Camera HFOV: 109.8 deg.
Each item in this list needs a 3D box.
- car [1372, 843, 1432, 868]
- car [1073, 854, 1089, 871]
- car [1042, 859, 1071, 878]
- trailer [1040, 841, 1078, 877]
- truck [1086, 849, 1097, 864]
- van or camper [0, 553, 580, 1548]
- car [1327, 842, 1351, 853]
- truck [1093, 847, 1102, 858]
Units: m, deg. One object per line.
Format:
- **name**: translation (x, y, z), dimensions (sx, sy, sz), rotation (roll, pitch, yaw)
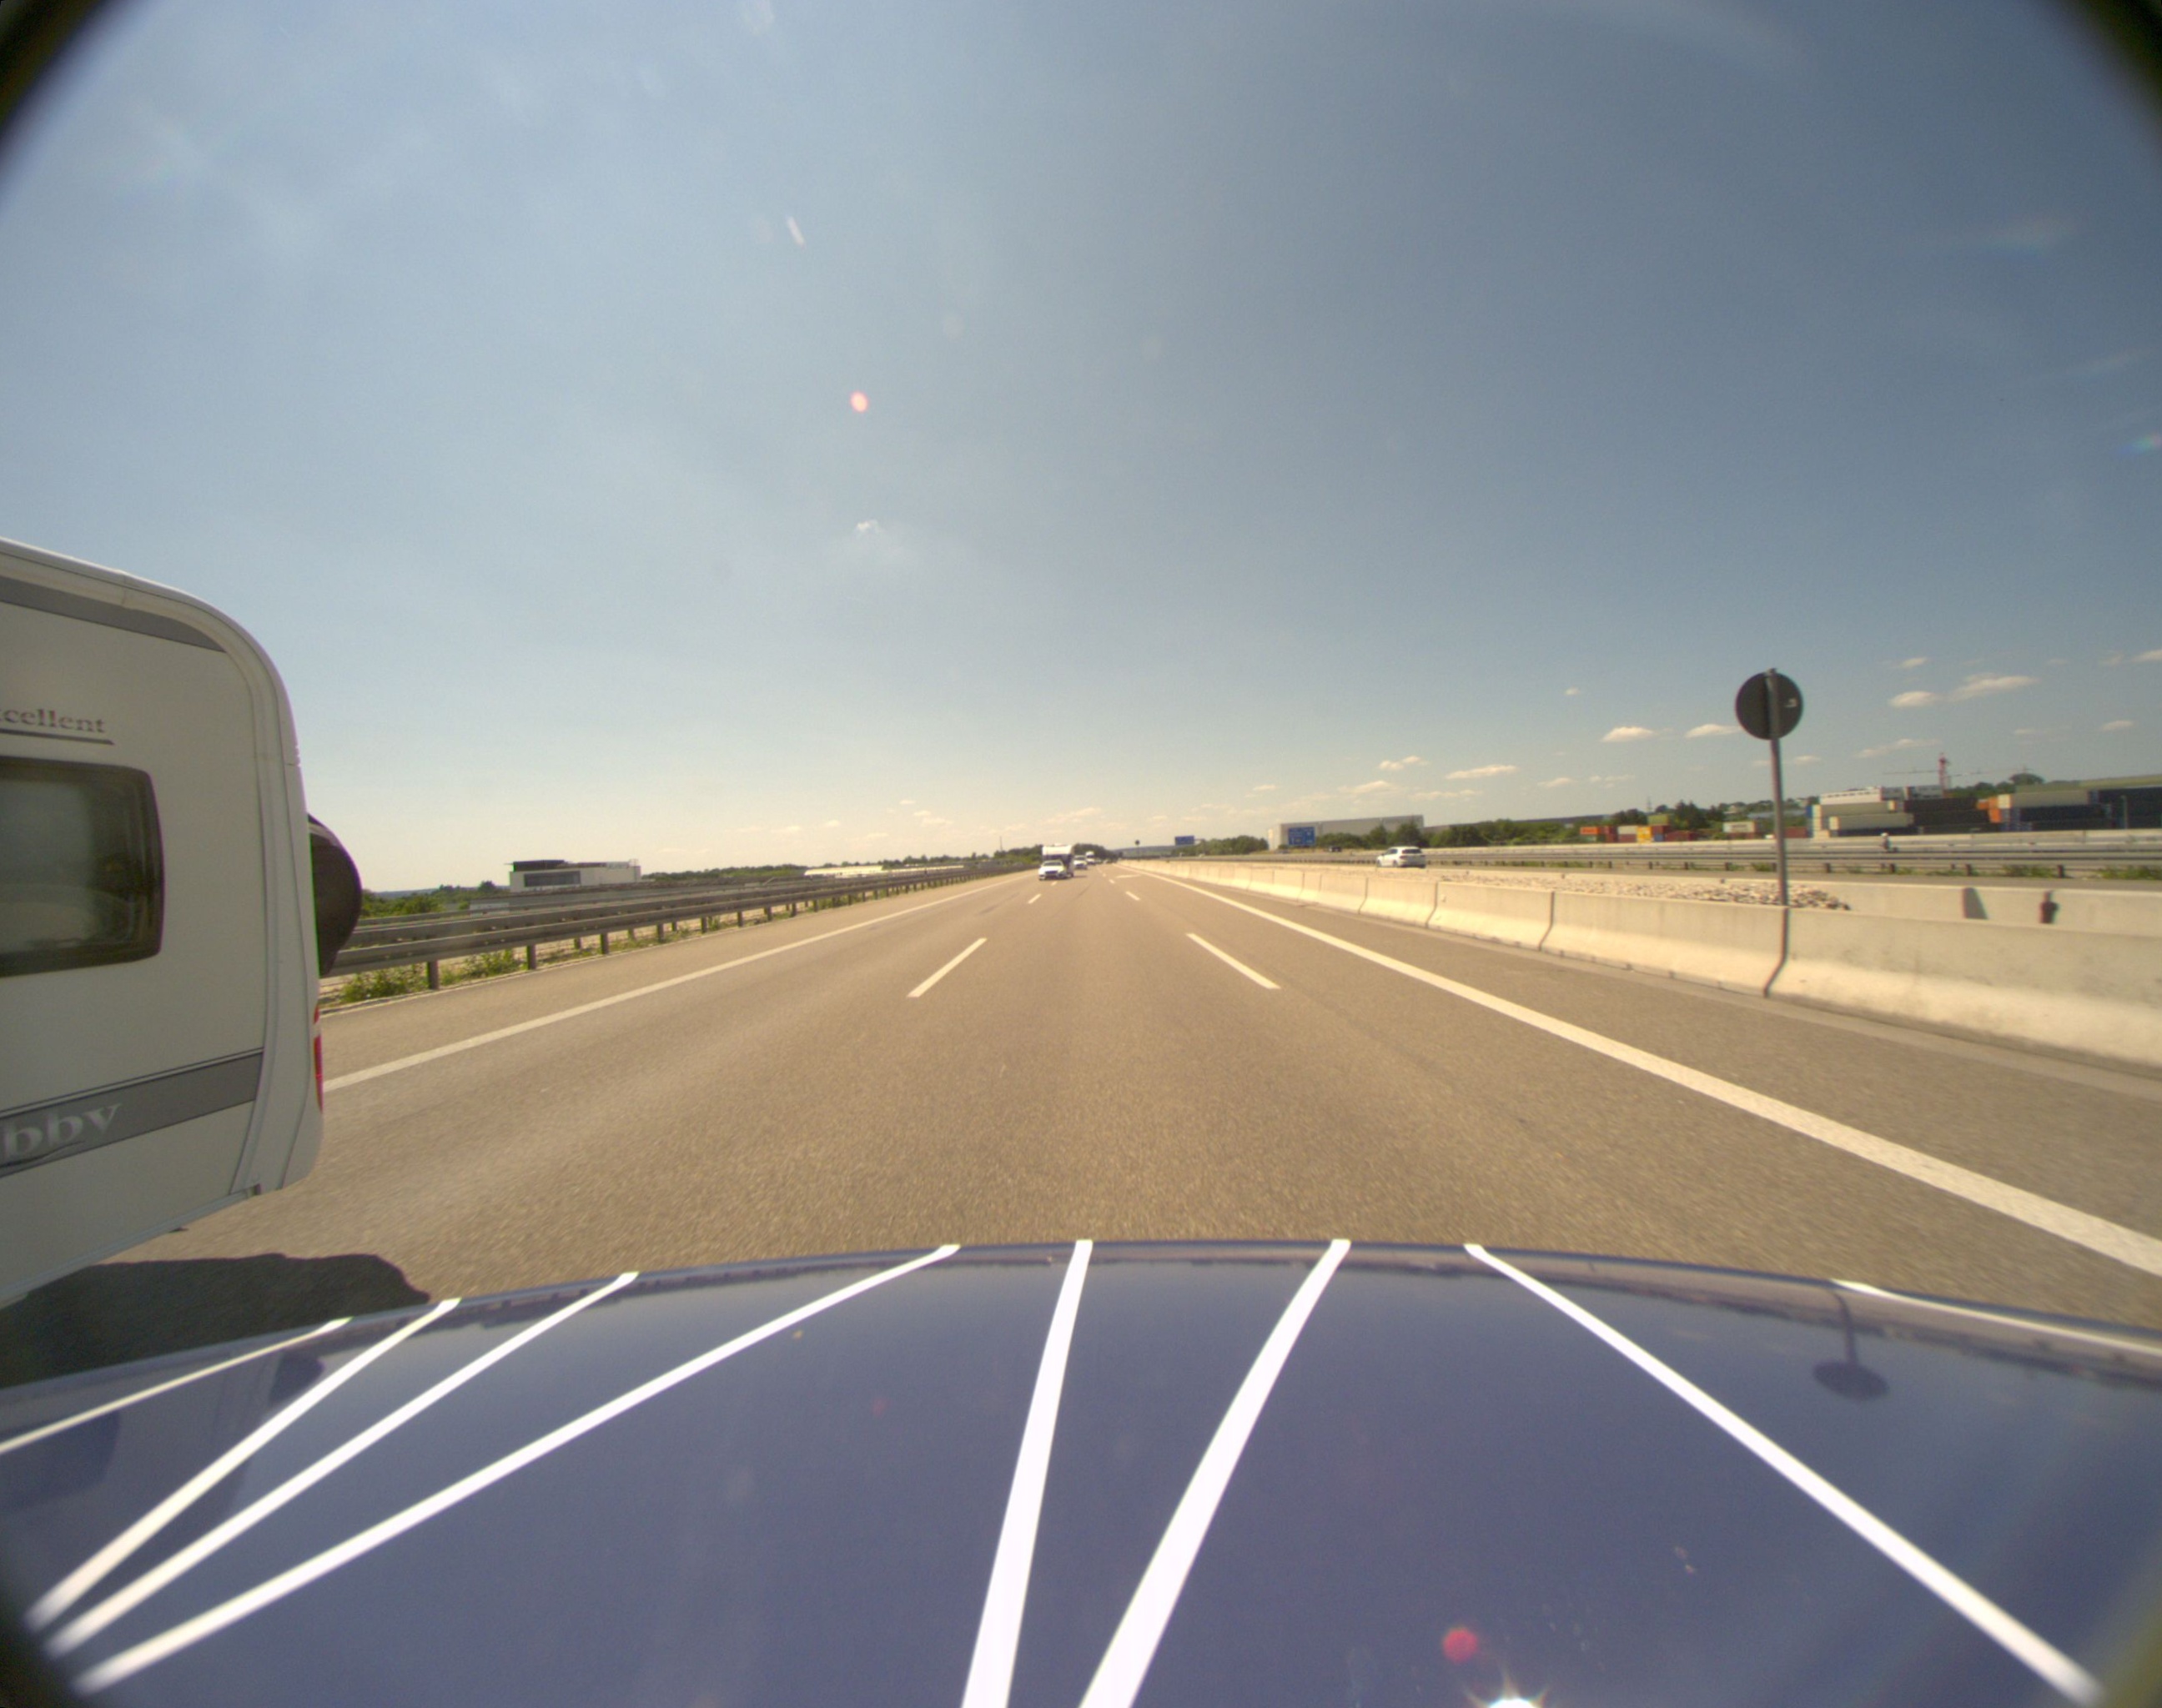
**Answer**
- **car**: translation (19.903, 0.108, 47.321), dimensions (1.814, 1.427, 4.441), rotation (-2, 0, 1)
- **car**: translation (-0.025, 1.096, 99.368), dimensions (1.998, 2.002, 4.000), rotation (-2, 0, 0)
- **car**: translation (-1.763, 1.040, 55.465), dimensions (1.872, 1.352, 3.673), rotation (-1, 0, 2)
- **trailer**: translation (-1.663, 0.384, 60.847), dimensions (2.500, 2.686, 7.156), rotation (-2, 0, 2)
- **truck**: translation (2.143, 0.517, 154.528), dimensions (2.168, 2.797, 6.490), rotation (-2, 0, 0)
- **van or camper**: translation (-4.092, 0.530, 0.258), dimensions (2.518, 2.577, 7.817), rotation (-2, 0, 1)
- **car**: translation (35.110, -0.908, 103.610), dimensions (1.998, 1.371, 4.363), rotation (-2, 0, 3)
- **truck**: translation (4.266, -0.367, 191.590), dimensions (2.168, 2.797, 6.490), rotation (-2, 0, 1)
